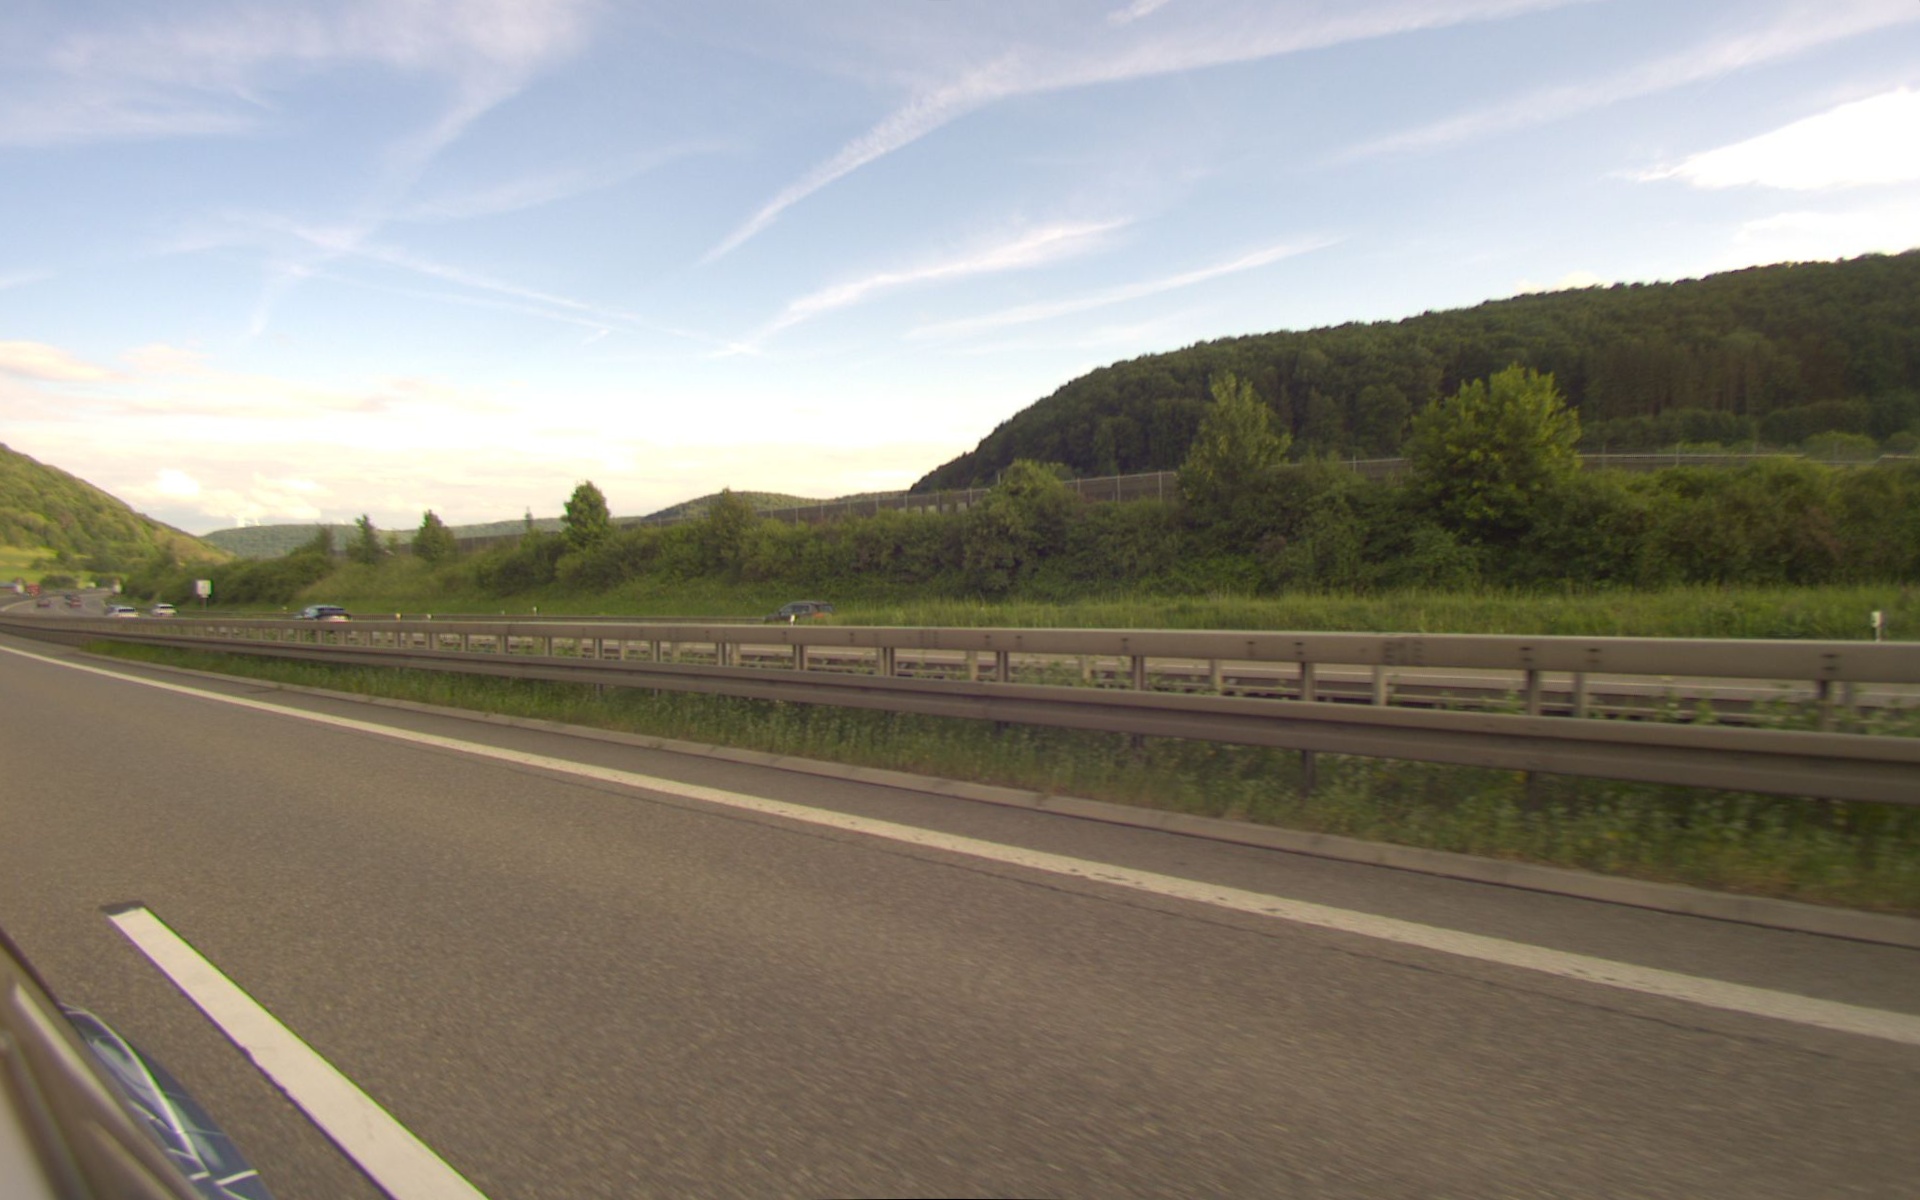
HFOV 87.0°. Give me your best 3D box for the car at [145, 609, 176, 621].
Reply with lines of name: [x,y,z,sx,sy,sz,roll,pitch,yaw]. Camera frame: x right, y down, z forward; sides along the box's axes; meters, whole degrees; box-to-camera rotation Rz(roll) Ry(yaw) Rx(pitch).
car: [-90.811,1.722,114.909,4.375,1.368,1.743,-1,-1,37]

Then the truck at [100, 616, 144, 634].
truck: [-67.070,1.977,81.002,4.643,1.375,1.973,-1,-1,41]

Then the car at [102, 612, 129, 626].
car: [-91.045,2.058,109.063,1.970,1.497,4.004,2,-2,-43]

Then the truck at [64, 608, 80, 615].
truck: [-170.764,2.172,194.597,3.948,1.364,1.971,-1,-2,44]

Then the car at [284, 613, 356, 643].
car: [-34.340,1.488,54.259,4.690,1.508,1.973,0,-2,41]
